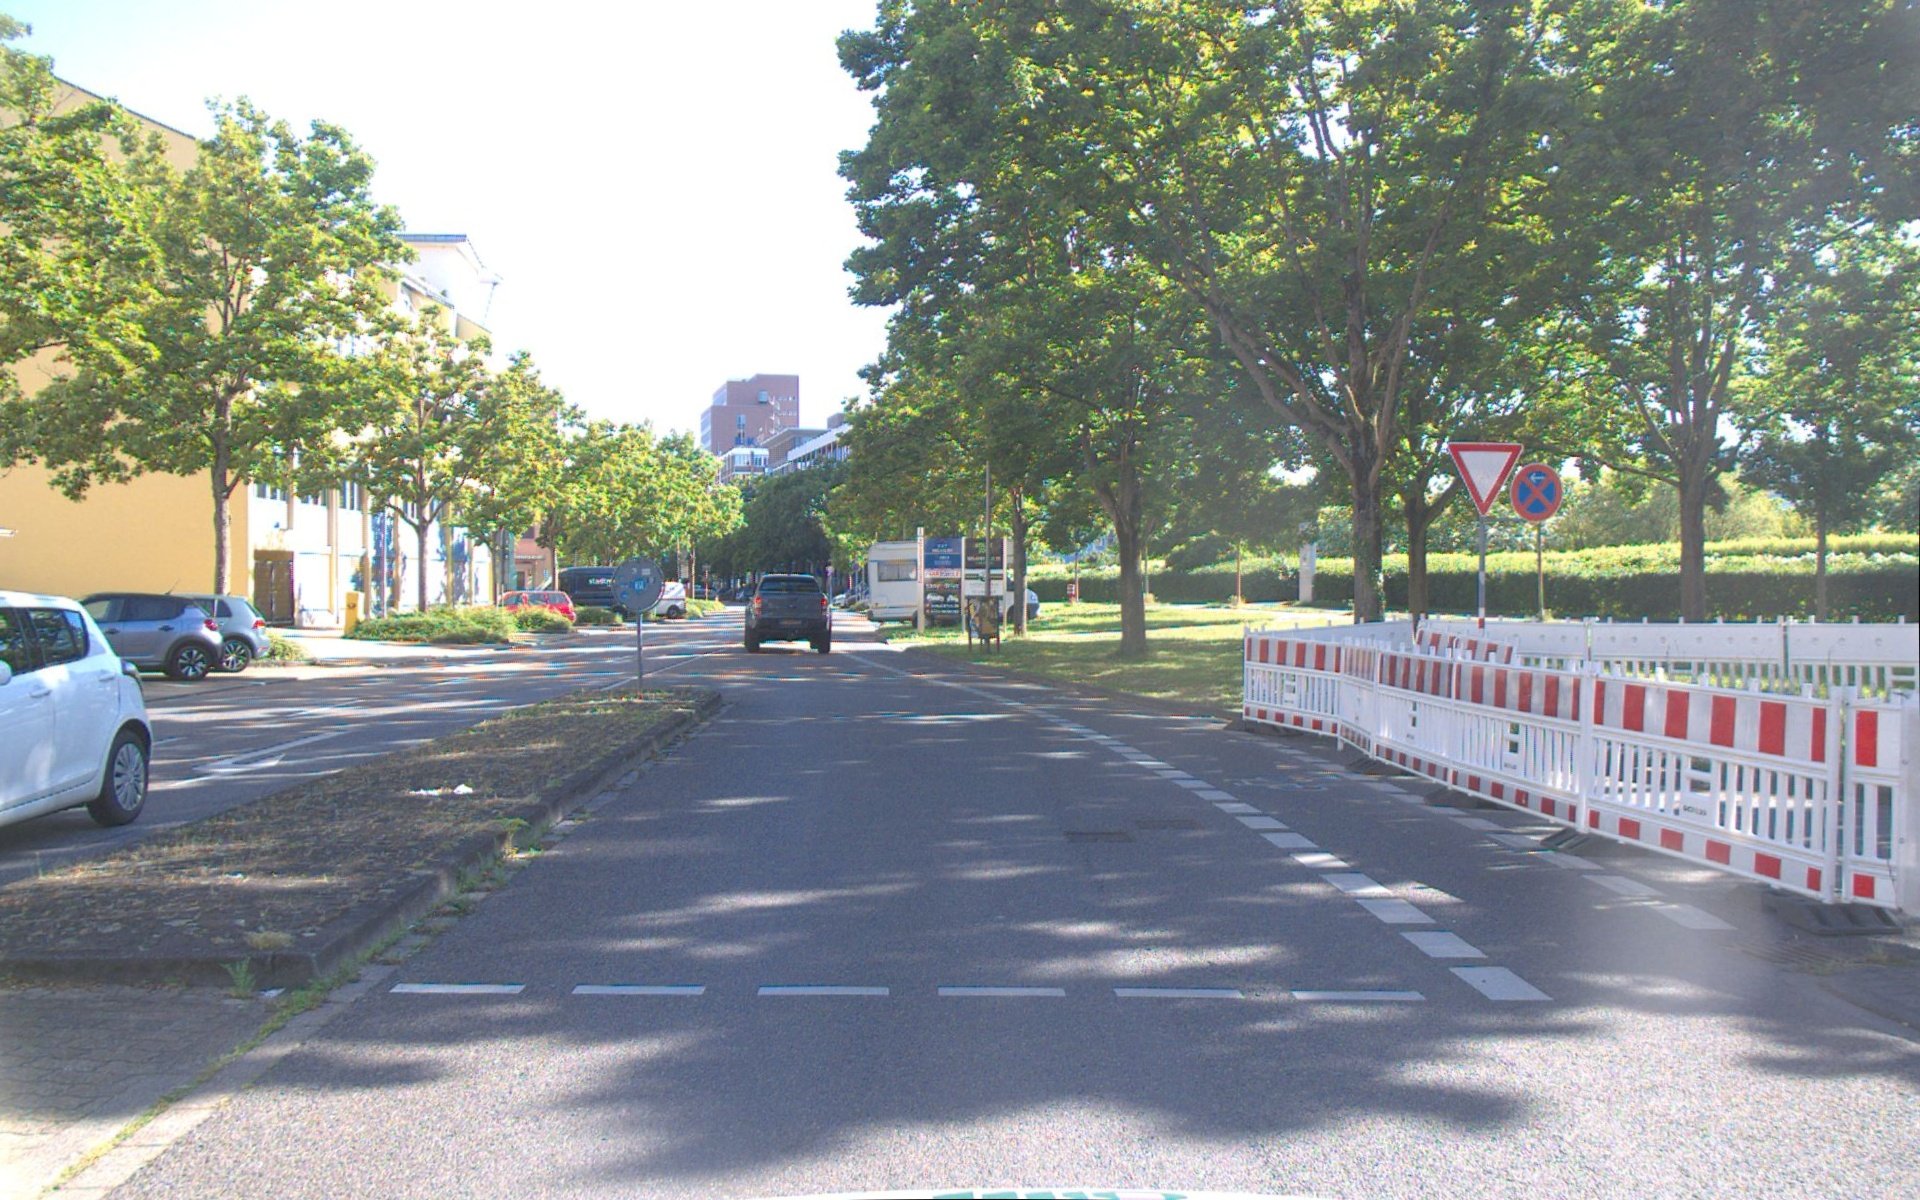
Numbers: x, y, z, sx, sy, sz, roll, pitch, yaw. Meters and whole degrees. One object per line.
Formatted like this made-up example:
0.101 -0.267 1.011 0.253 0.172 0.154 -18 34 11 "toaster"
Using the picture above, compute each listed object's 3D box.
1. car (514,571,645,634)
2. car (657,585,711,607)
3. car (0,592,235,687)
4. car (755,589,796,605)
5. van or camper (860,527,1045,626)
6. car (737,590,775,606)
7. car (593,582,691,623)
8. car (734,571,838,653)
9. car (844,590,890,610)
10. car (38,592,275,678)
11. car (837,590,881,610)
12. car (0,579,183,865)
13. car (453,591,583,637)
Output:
-16.492 0.084 71.749 5.203 2.590 1.967 -1 0 -29 "car"
-20.326 -0.284 121.834 3.816 1.389 1.405 -3 1 -13 "car"
-14.723 0.649 28.489 3.842 1.536 1.805 0 0 -36 "car"
-18.629 -0.293 166.826 3.879 1.421 1.511 -3 1 -13 "car"
-0.302 -0.786 55.833 5.960 2.979 2.573 -3 0 -5 "van or camper"
-21.653 -0.214 175.368 3.879 1.421 1.511 -3 1 -13 "car"
-17.256 0.123 89.884 4.851 2.119 1.958 -1 0 -39 "car"
-4.346 0.231 40.614 2.095 1.867 4.927 0 1 -11 "car"
-6.661 0.007 118.556 3.181 1.299 1.515 -3 1 -5 "car"
-15.211 0.631 31.376 3.841 1.536 1.806 0 0 -35 "car"
-7.512 -0.033 122.699 3.181 1.299 1.515 -3 1 -5 "car"
-6.046 0.684 9.232 1.671 1.539 3.861 -2 1 -3 "car"
-16.296 0.485 61.023 4.357 1.579 1.904 -1 0 -29 "car"
